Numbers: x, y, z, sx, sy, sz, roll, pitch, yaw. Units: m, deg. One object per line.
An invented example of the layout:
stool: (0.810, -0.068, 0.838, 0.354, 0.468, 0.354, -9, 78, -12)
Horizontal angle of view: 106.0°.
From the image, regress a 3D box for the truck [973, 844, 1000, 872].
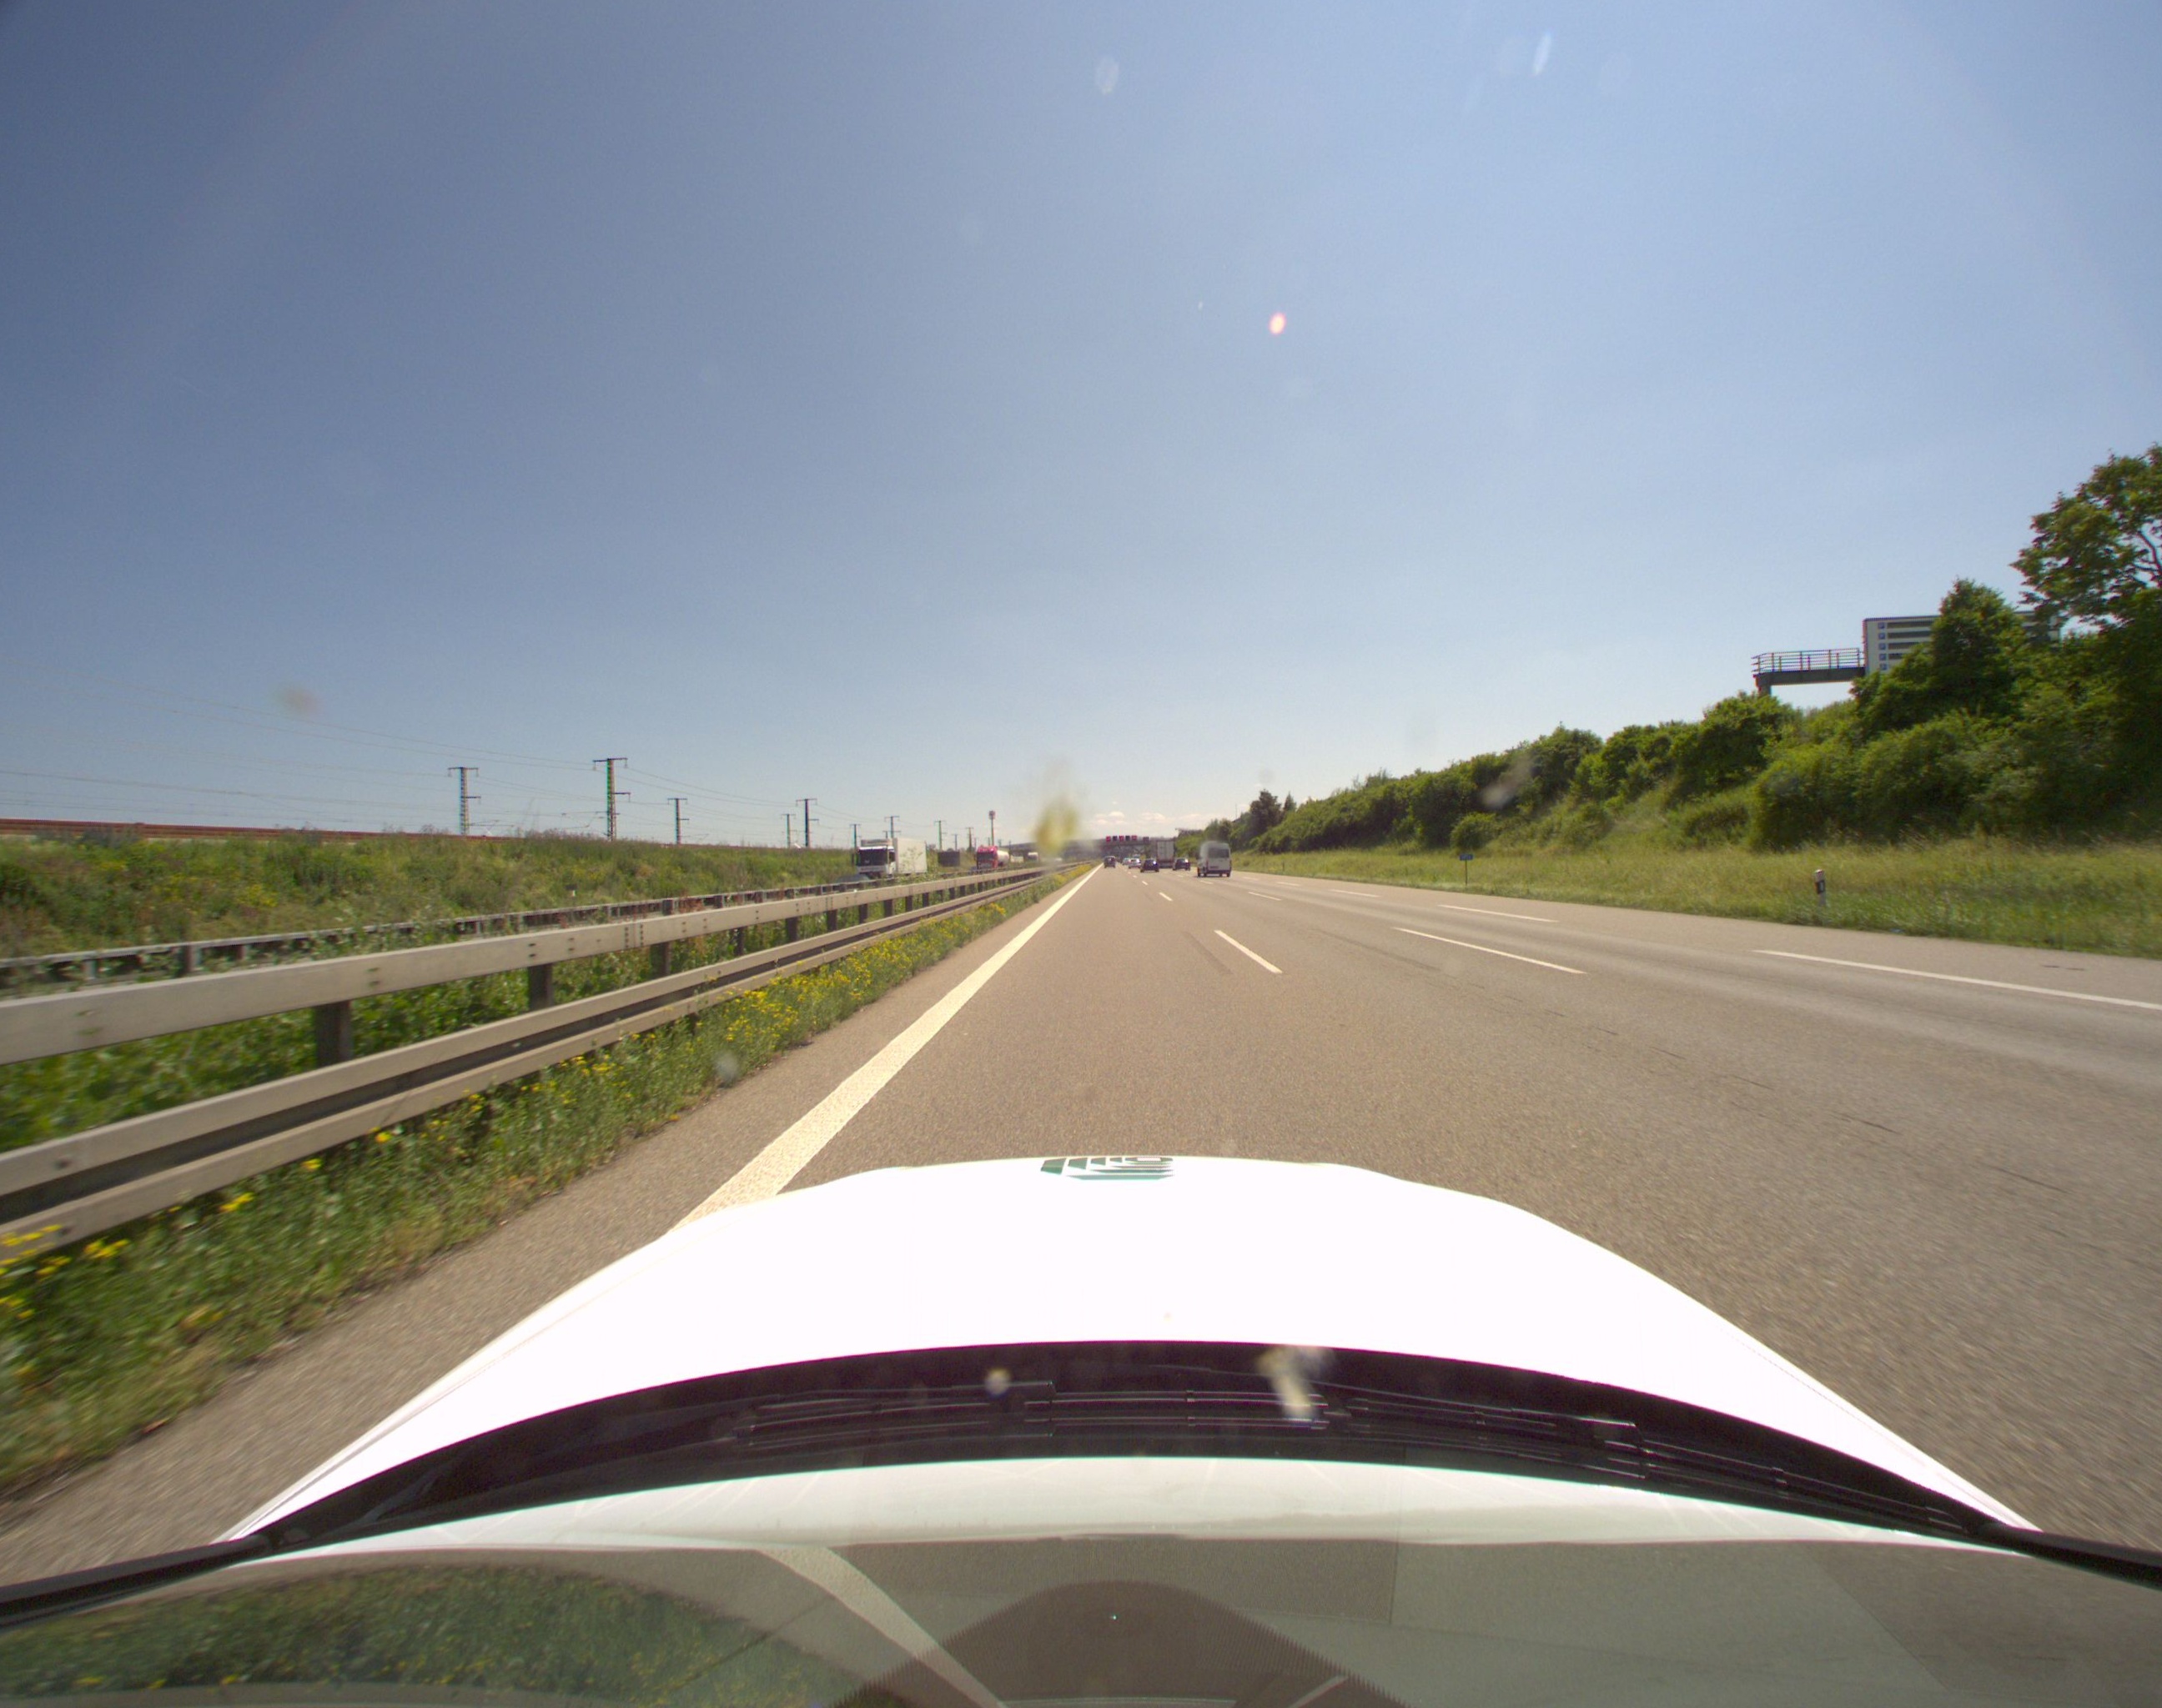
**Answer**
truck: (-12.423, 0.547, 107.583, 2.777, 3.521, 4.716, 0, -1, 2)

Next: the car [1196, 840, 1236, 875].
car: (10.423, 0.256, 63.239, 2.266, 2.528, 5.400, -1, 0, 1)

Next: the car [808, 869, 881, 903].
car: (-10.807, 1.438, 37.553, 1.986, 1.306, 4.204, -2, 0, 1)

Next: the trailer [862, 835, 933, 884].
trailer: (-13.572, 0.401, 61.146, 2.776, 3.388, 9.587, 0, 0, 2)

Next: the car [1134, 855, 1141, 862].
car: (16.893, 1.288, 243.146, 1.985, 2.013, 4.441, -2, 0, 4)

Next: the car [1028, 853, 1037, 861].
car: (-12.545, 0.761, 211.419, 1.987, 2.013, 4.000, -1, 0, 0)

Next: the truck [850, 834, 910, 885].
truck: (-13.756, 0.379, 56.134, 2.777, 3.388, 4.716, 0, -1, 2)

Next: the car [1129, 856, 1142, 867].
car: (7.947, 1.151, 118.219, 1.872, 1.526, 4.005, -1, -1, 5)

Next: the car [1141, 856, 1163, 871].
car: (7.565, 0.994, 86.615, 1.987, 1.508, 3.998, 0, -2, 0)

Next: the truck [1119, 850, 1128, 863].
truck: (11.992, 0.678, 228.217, 2.346, 3.416, 6.060, -1, 0, 2)

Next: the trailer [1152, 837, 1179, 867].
trailer: (12.262, -0.259, 118.281, 3.165, 4.059, 9.444, -2, 0, 2)

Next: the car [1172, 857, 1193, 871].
car: (11.859, 1.212, 95.320, 1.986, 1.596, 4.001, 0, -2, 1)

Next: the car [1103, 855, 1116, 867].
car: (4.530, 1.121, 128.997, 1.873, 1.775, 4.002, -2, -1, 2)

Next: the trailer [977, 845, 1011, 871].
trailer: (-12.155, 0.594, 114.793, 2.776, 3.521, 13.848, 0, 0, 2)

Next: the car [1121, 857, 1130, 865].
car: (9.646, 1.540, 176.766, 1.873, 1.526, 4.003, -1, -1, 3)
